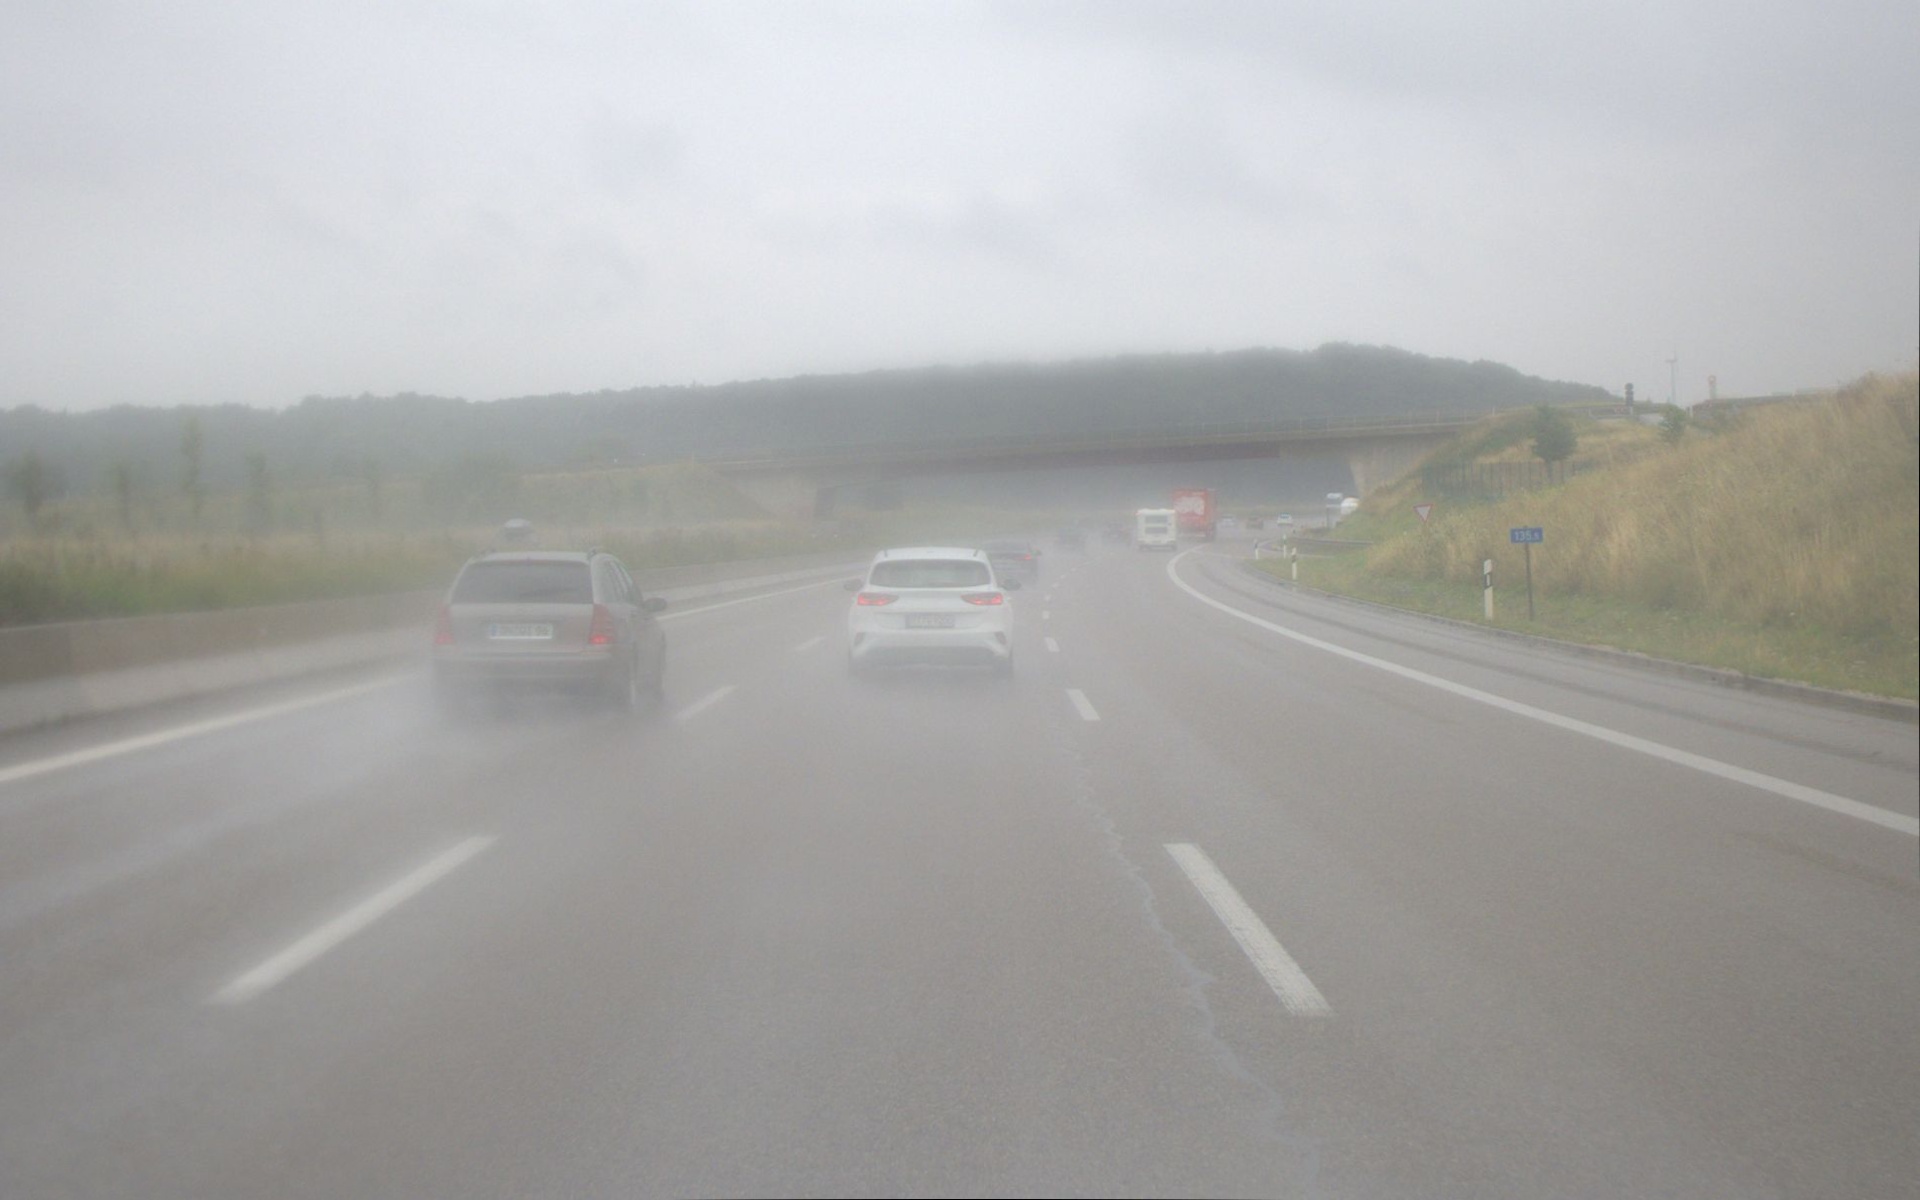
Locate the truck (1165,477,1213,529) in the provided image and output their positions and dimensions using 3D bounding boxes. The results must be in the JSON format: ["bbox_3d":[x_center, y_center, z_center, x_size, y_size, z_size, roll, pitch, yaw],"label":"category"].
[{"bbox_3d":[17.329,-7.351,259.966,3.528,3.730,11.425,0,2,4],"label":"truck"}]

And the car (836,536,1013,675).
[{"bbox_3d":[-0.418,0.025,38.263,1.867,1.458,4.000,0,1,-1],"label":"car"}]

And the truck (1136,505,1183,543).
[{"bbox_3d":[11.895,-4.534,204.403,2.408,2.244,4.692,0,2,8],"label":"truck"}]

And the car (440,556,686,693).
[{"bbox_3d":[-3.551,0.189,31.404,1.823,1.152,4.213,1,0,-1],"label":"car"}]

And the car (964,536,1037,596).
[{"bbox_3d":[1.149,-0.974,96.276,1.993,1.612,4.000,0,2,1],"label":"car"}]
